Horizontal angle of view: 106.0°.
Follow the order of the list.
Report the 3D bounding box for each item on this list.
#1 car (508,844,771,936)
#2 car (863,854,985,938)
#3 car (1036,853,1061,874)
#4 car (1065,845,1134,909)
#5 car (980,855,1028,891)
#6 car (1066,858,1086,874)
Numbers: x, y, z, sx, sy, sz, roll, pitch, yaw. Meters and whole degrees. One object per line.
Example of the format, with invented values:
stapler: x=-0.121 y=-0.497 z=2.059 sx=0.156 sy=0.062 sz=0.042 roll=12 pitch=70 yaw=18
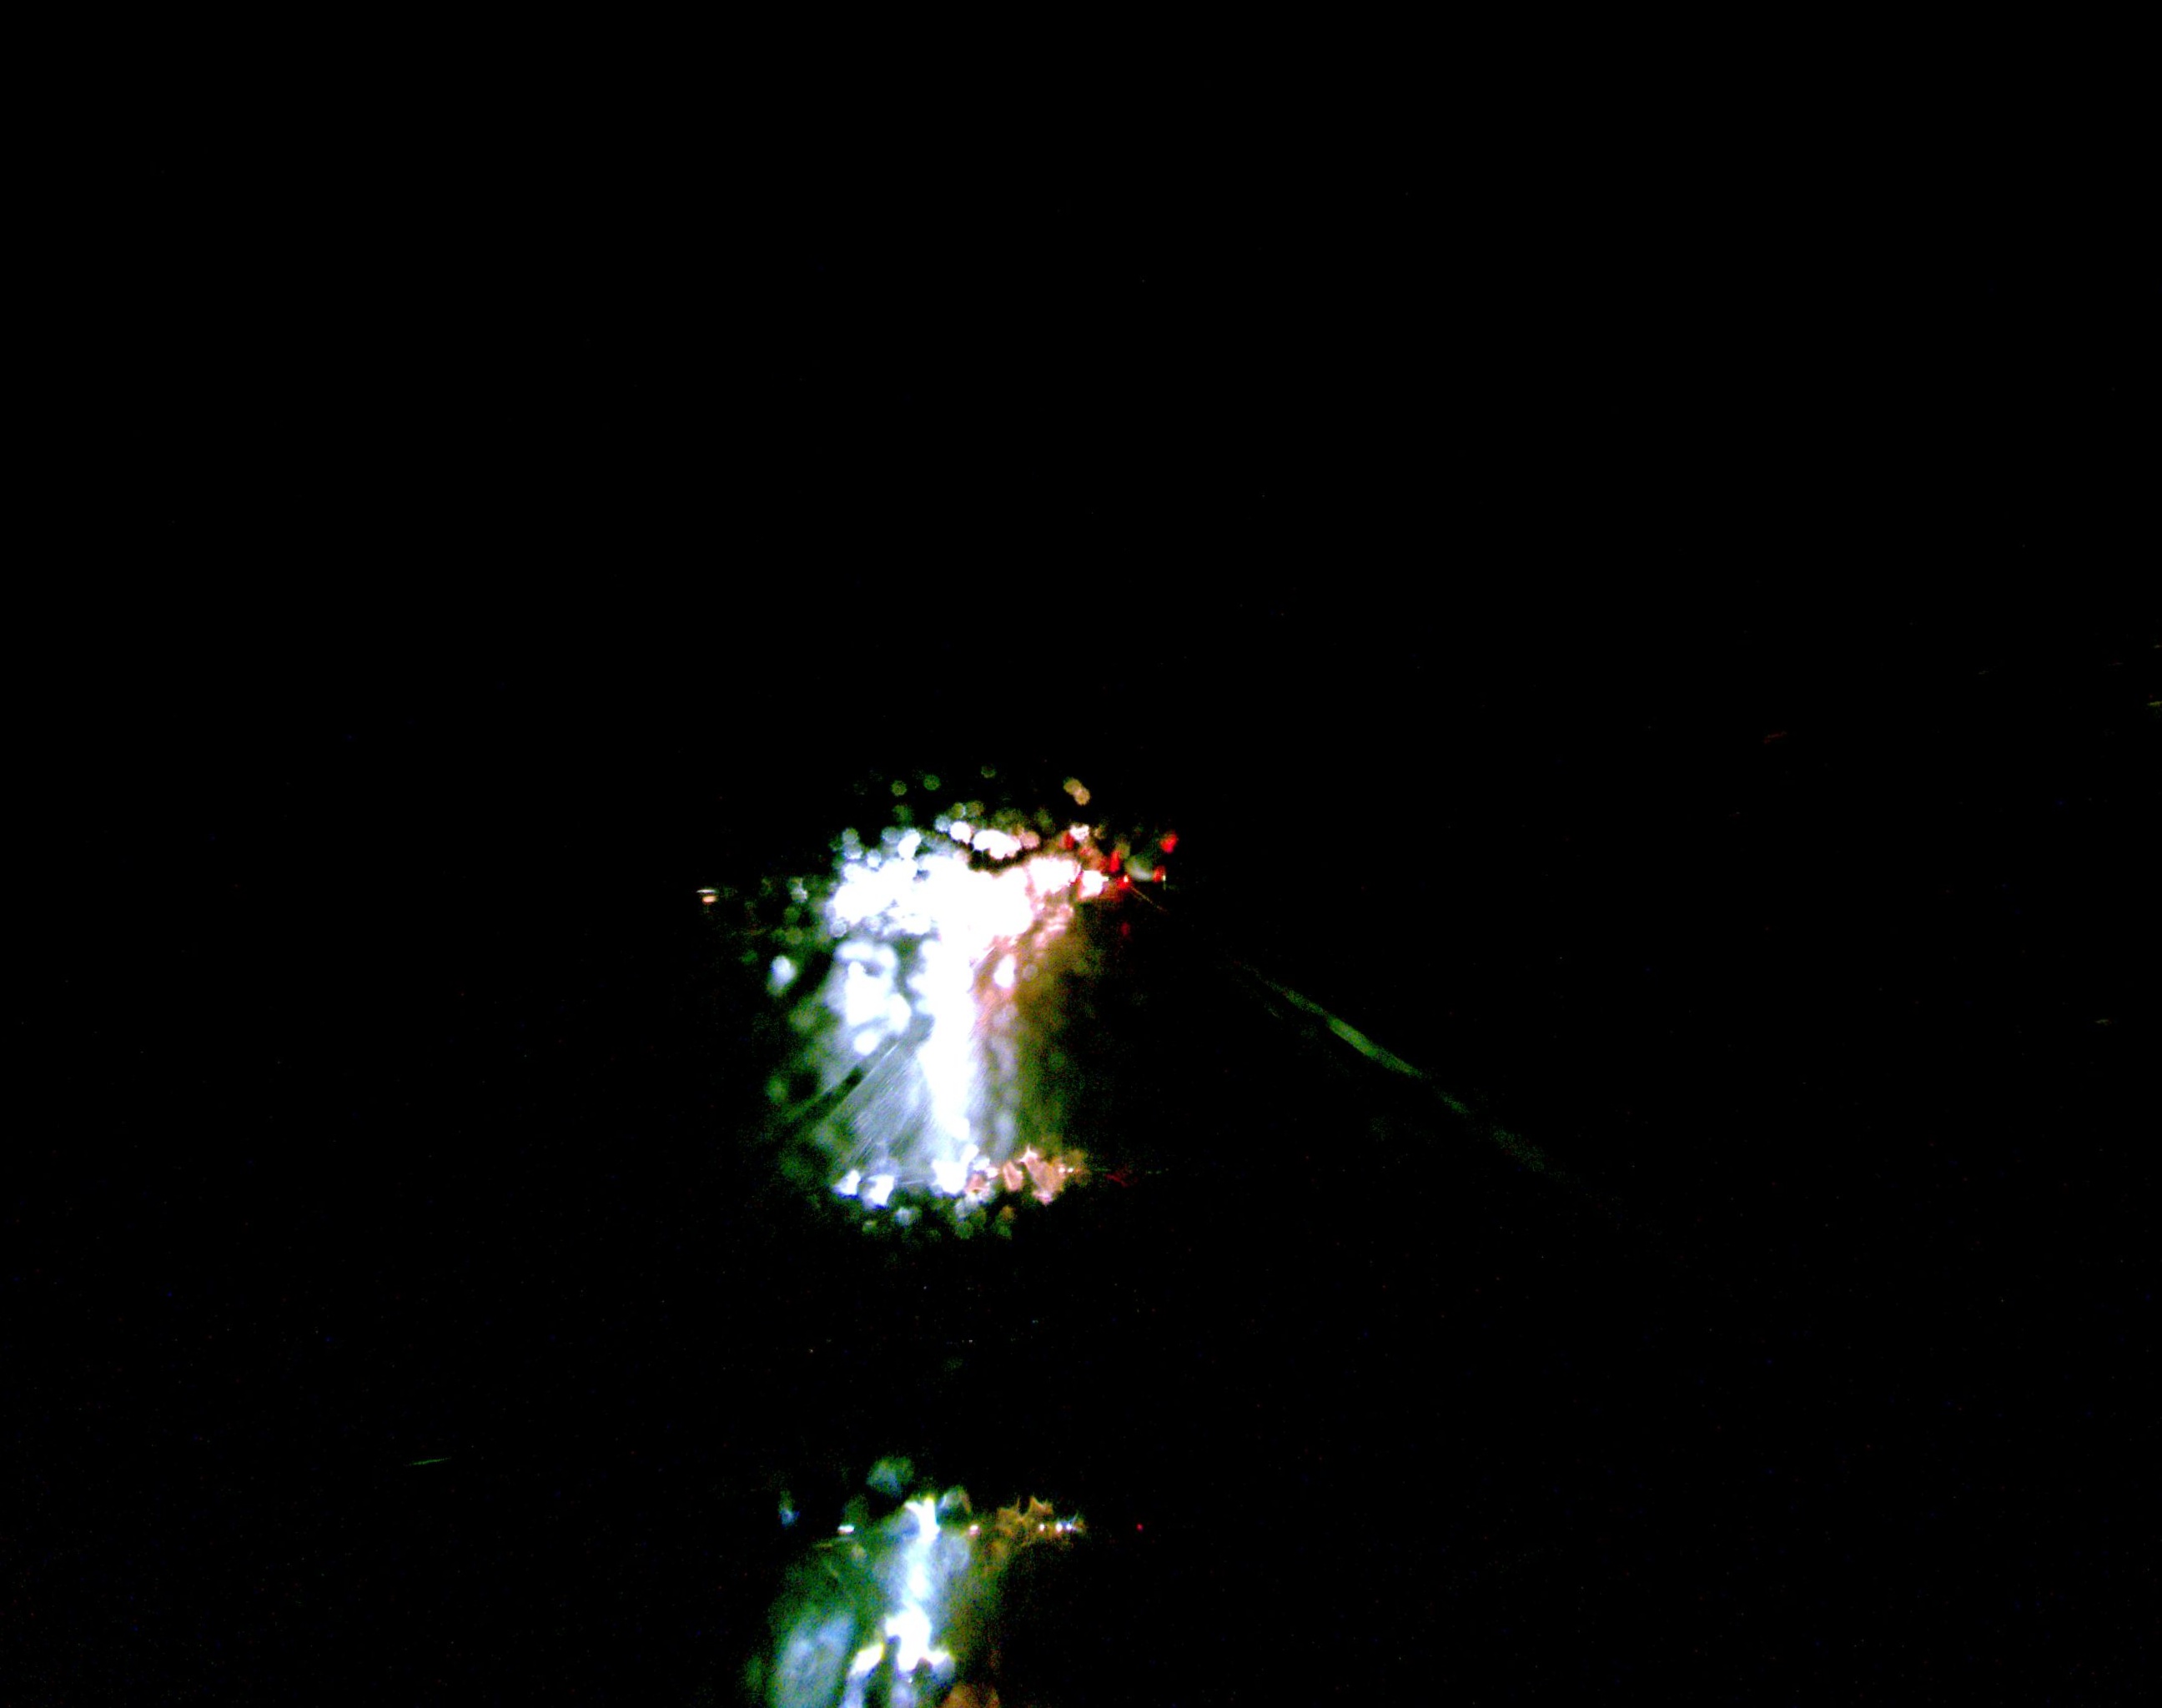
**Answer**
car: x=-10.017 y=0.788 z=18.745 sx=4.915 sy=1.838 sz=1.935 roll=-2 pitch=0 yaw=1
car: x=-3.222 y=0.817 z=17.484 sx=1.797 sy=1.572 sz=4.190 roll=0 pitch=-1 yaw=0
car: x=-2.485 y=0.720 z=62.864 sx=1.657 sy=1.560 sz=3.561 roll=0 pitch=0 yaw=1
car: x=0.591 y=0.676 z=25.296 sx=1.986 sy=1.807 sz=3.919 roll=0 pitch=-1 yaw=2
car: x=-3.173 y=0.757 z=34.126 sx=1.593 sy=1.424 sz=3.553 roll=0 pitch=-1 yaw=1
car: x=-0.466 y=1.158 z=81.080 sx=1.749 sy=1.405 sz=4.489 roll=2 pitch=0 yaw=2
